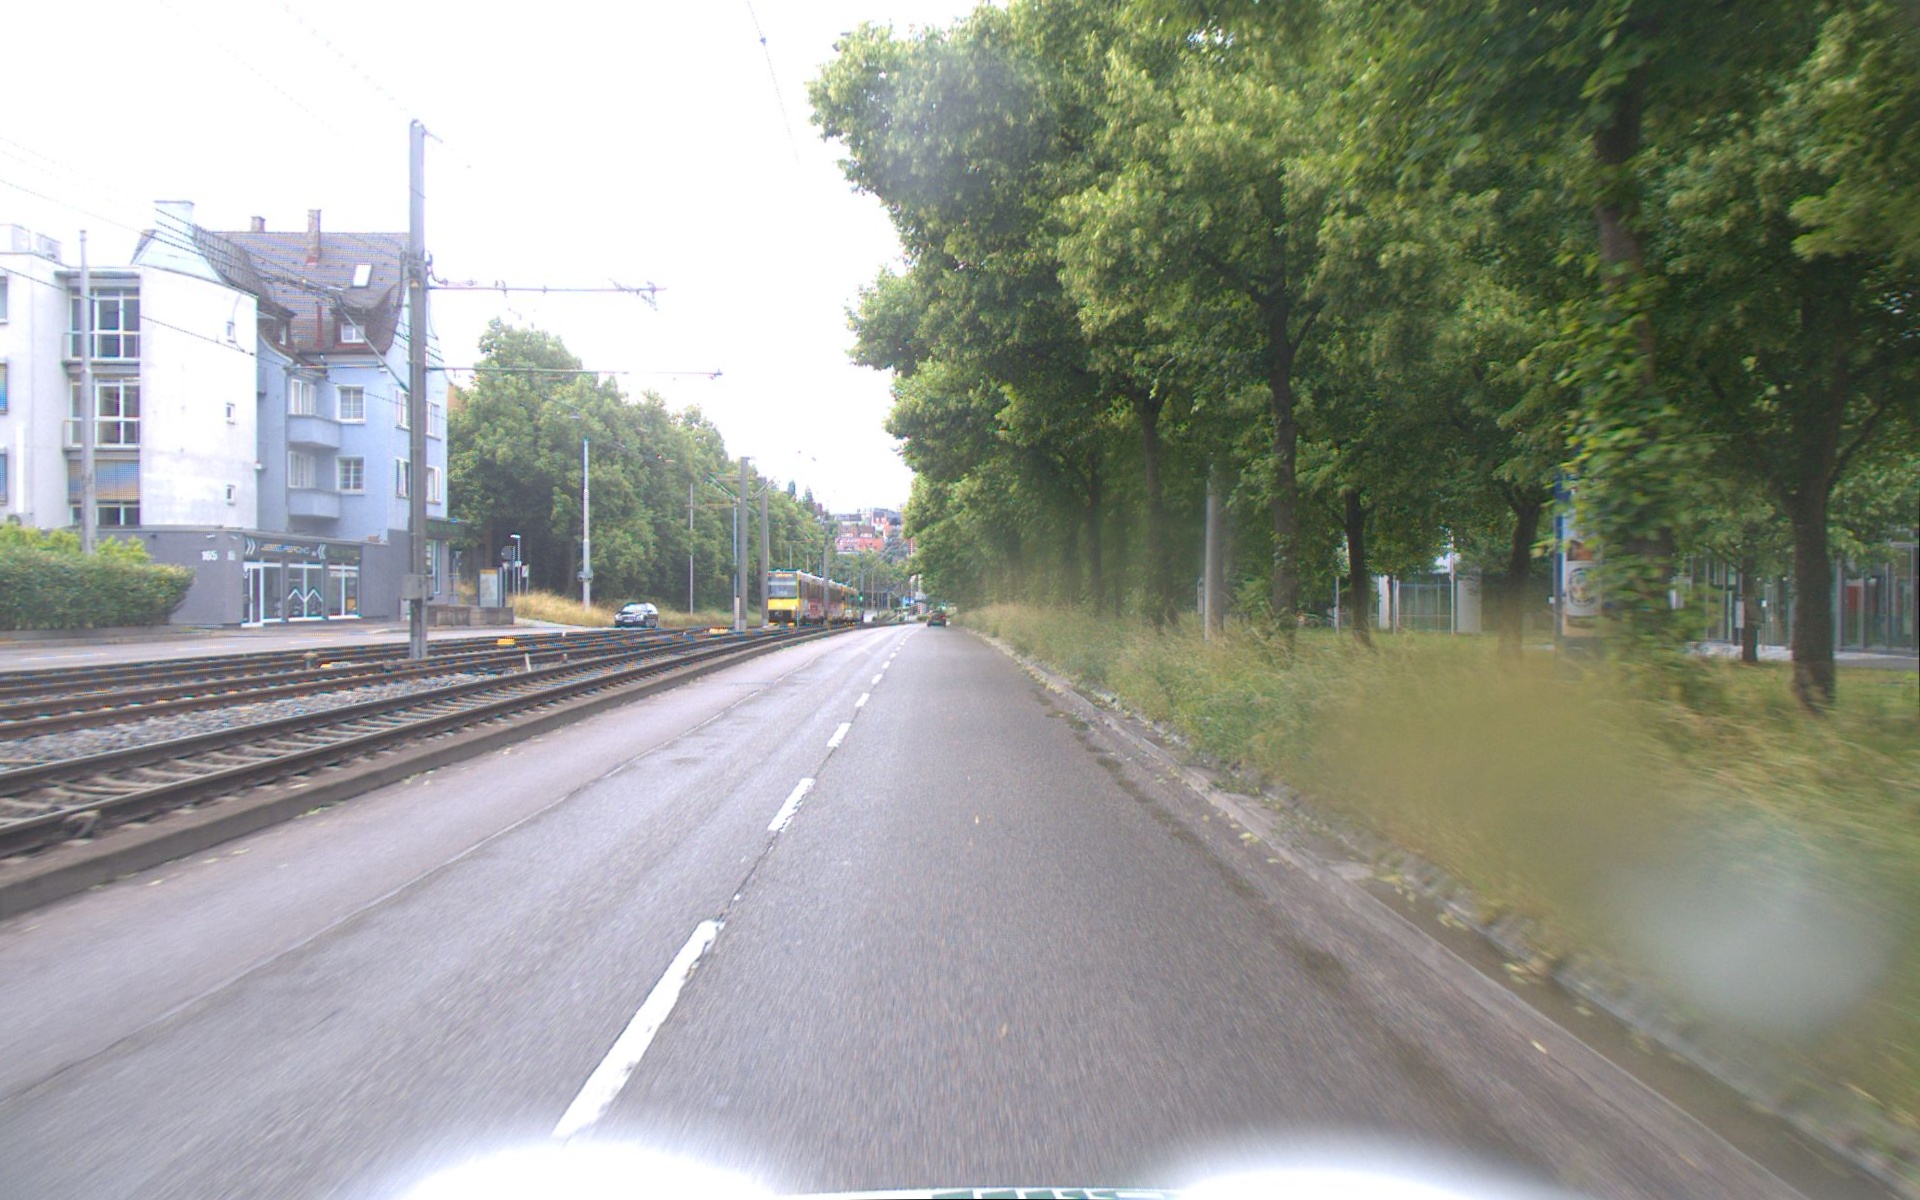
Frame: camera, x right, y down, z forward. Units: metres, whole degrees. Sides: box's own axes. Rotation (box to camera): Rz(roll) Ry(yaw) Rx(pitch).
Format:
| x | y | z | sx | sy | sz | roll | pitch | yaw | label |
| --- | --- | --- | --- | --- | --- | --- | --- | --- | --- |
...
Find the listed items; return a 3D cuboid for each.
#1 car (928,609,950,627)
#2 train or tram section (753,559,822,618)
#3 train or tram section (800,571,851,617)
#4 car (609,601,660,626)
| x | y | z | sx | sy | sz | roll | pitch | yaw | label |
| --- | --- | --- | --- | --- | --- | --- | --- | --- | --- |
| -1.905 | 1.598 | 148.029 | 1.942 | 1.466 | 4.473 | 0 | 0 | -1 | car |
| -11.876 | -0.671 | 115.423 | 3.148 | 3.863 | 14.789 | 0 | -1 | 0 | train or tram section |
| -11.684 | -0.432 | 145.082 | 3.148 | 3.863 | 14.789 | 0 | -1 | 0 | train or tram section |
| -18.282 | 0.776 | 93.016 | 1.863 | 1.348 | 4.826 | 0 | -1 | 0 | car |
